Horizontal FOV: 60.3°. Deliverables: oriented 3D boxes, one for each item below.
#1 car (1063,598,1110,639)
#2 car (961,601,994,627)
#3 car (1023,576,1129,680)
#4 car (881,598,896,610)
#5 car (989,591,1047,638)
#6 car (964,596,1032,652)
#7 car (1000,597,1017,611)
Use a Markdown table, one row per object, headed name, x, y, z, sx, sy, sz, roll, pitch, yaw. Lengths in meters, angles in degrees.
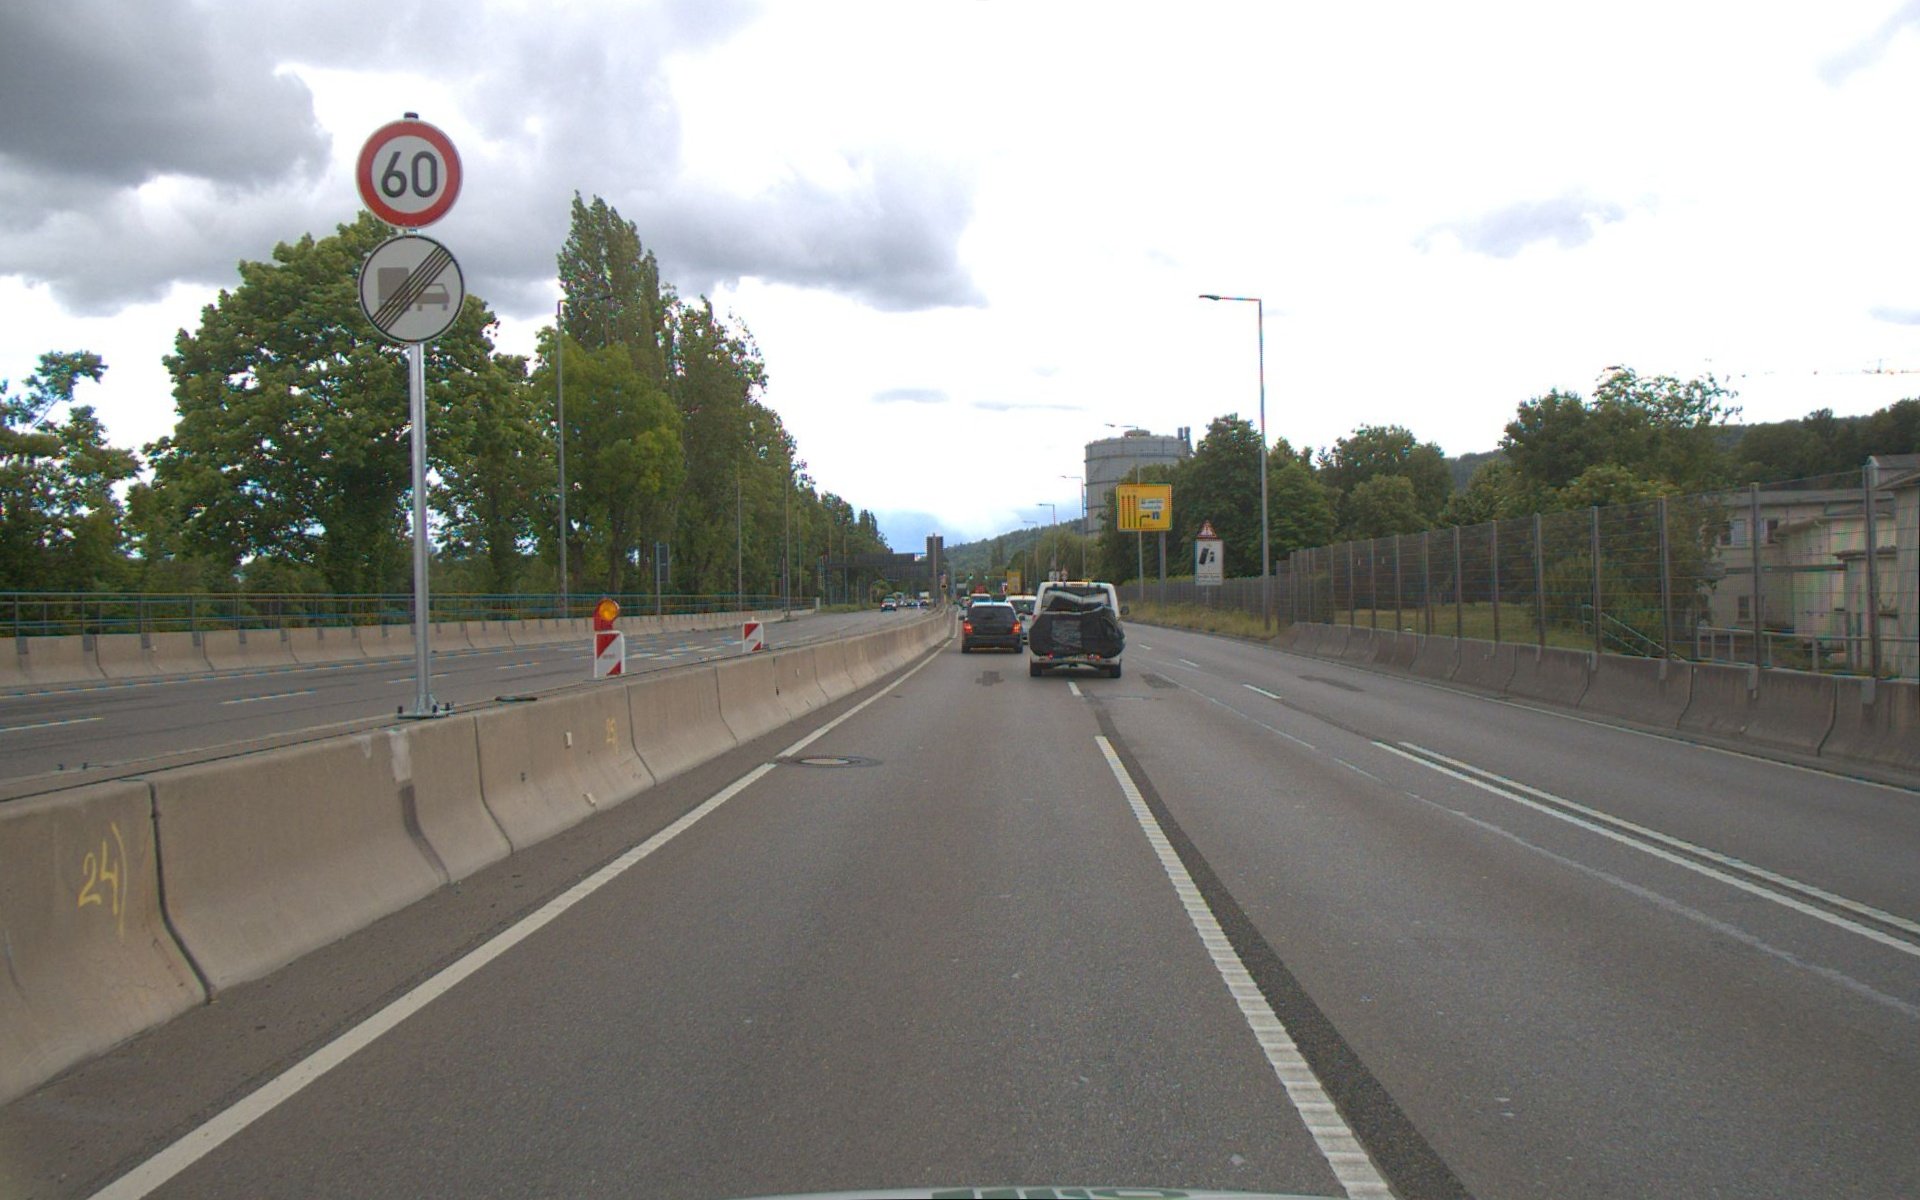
| name | x | y | z | sx | sy | sz | roll | pitch | yaw |
| --- | --- | --- | --- | --- | --- | --- | --- | --- | --- |
| car | 5.979 | 0.842 | 78.437 | 1.952 | 1.892 | 4.000 | -1 | 0 | 1 |
| car | 1.181 | 0.957 | 110.491 | 1.952 | 1.702 | 4.002 | 1 | -1 | 4 |
| car | 2.357 | 0.520 | 34.002 | 1.951 | 1.891 | 5.643 | 2 | 0 | 4 |
| car | -8.236 | 0.476 | 191.284 | 1.698 | 1.398 | 3.615 | 0 | 0 | -2 |
| car | 1.911 | 0.458 | 55.791 | 1.881 | 1.515 | 4.065 | 0 | 0 | 1 |
| car | 1.119 | 0.658 | 47.137 | 1.777 | 1.459 | 4.067 | -2 | 0 | 3 |
| car | 5.871 | 0.516 | 201.864 | 1.953 | 1.683 | 4.000 | 0 | 0 | 0 |
